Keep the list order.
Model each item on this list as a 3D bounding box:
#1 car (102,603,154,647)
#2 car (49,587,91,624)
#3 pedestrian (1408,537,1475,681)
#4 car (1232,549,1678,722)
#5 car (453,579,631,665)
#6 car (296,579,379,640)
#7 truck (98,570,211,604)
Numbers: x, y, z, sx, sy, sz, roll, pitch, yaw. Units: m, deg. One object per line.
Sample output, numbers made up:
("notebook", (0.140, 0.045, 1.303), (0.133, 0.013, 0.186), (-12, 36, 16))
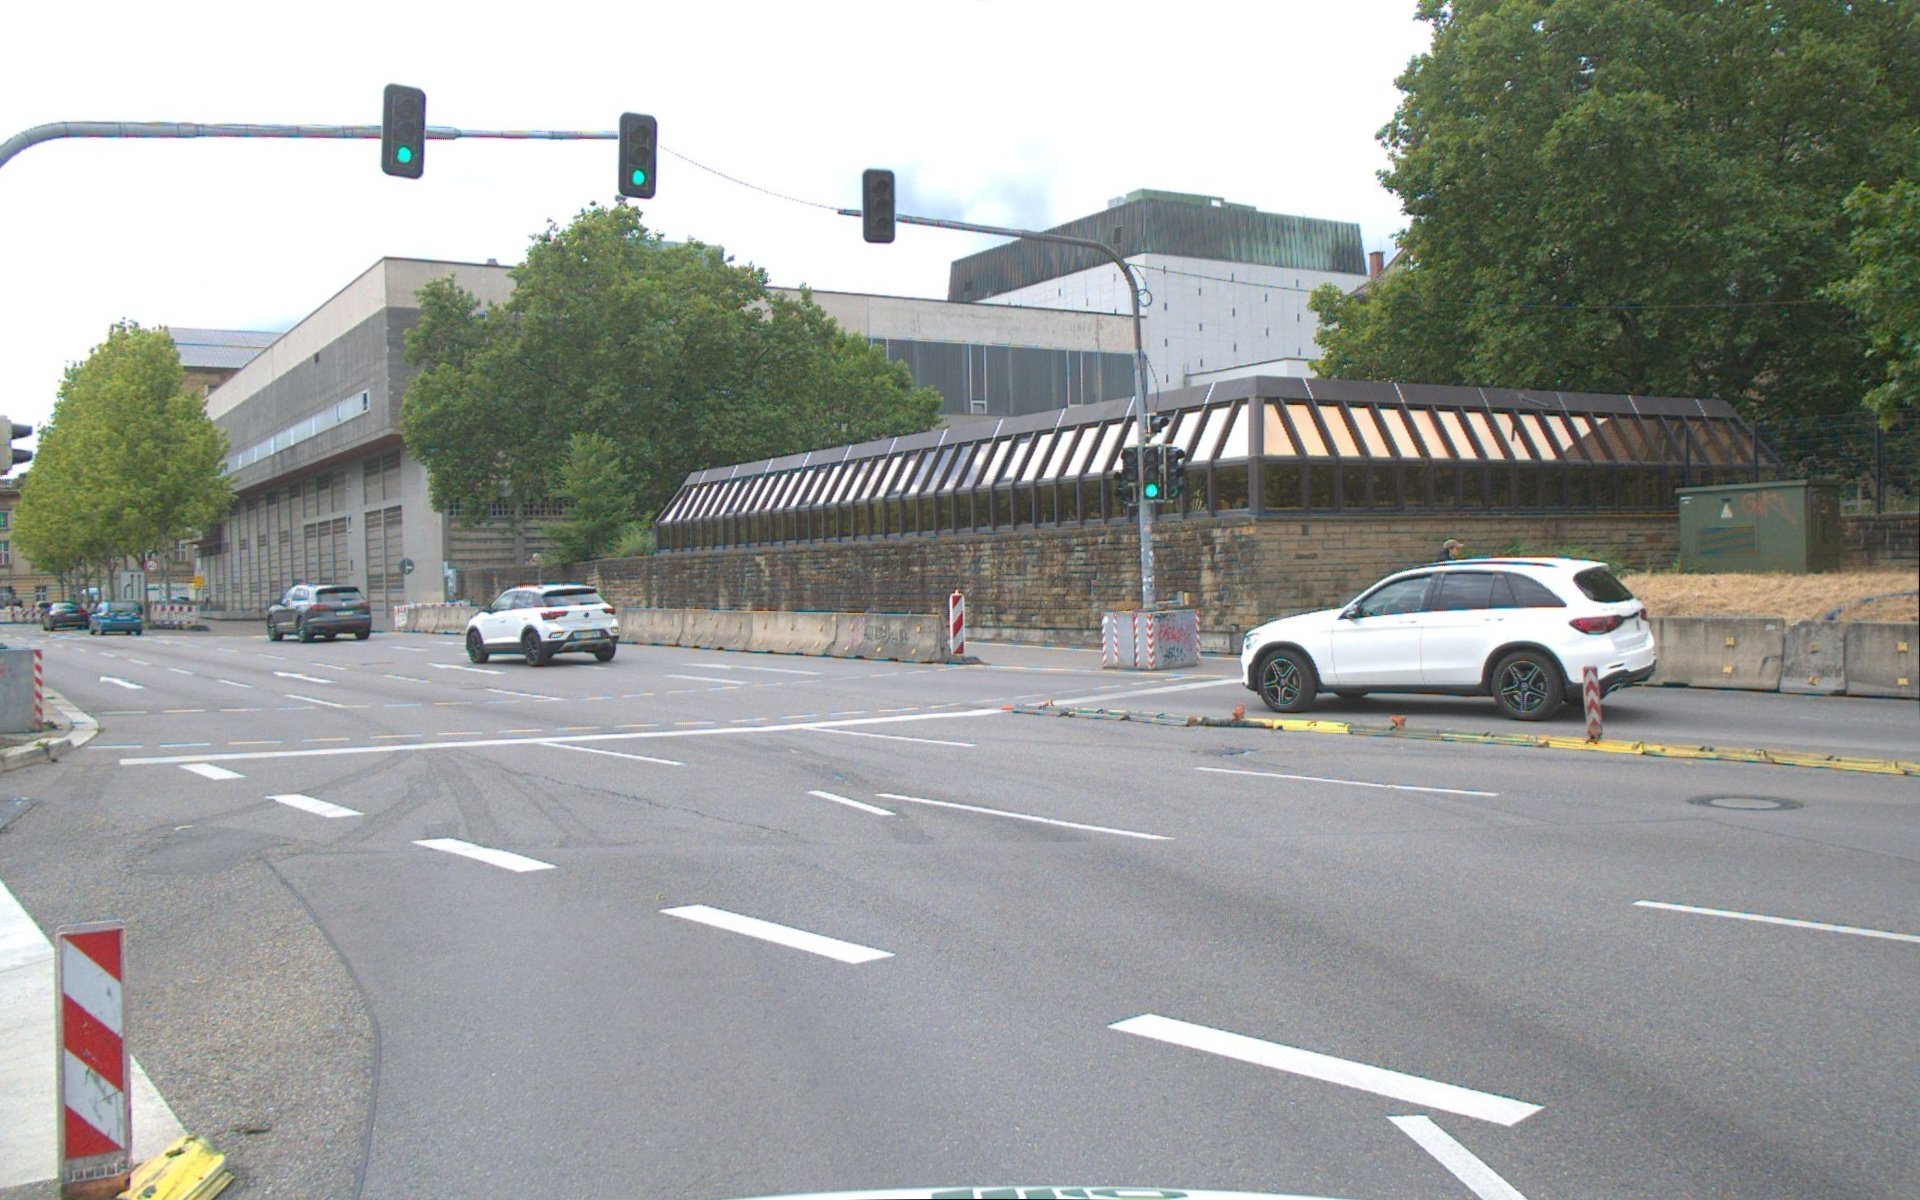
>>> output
("car", (-36.793, 1.069, 73.103), (1.804, 1.771, 4.435), (-3, 1, -29))
("car", (-46.212, 0.288, 85.860), (1.804, 1.771, 4.435), (-3, 1, -29))
("pedestrian", (6.988, 0.133, 23.987), (0.831, 2.049, 0.622), (-1, 0, 26))
("car", (5.456, 0.315, 18.586), (4.470, 1.671, 1.807), (1, 3, 41))
("car", (-8.668, 0.422, 34.074), (1.742, 1.595, 4.265), (-4, 2, -42))
("car", (-18.893, 0.241, 50.088), (1.802, 1.594, 4.442), (-5, 3, -26))
("truck", (-81.192, -1.318, 166.881), (9.943, 3.104, 2.538), (-2, 0, -34))
